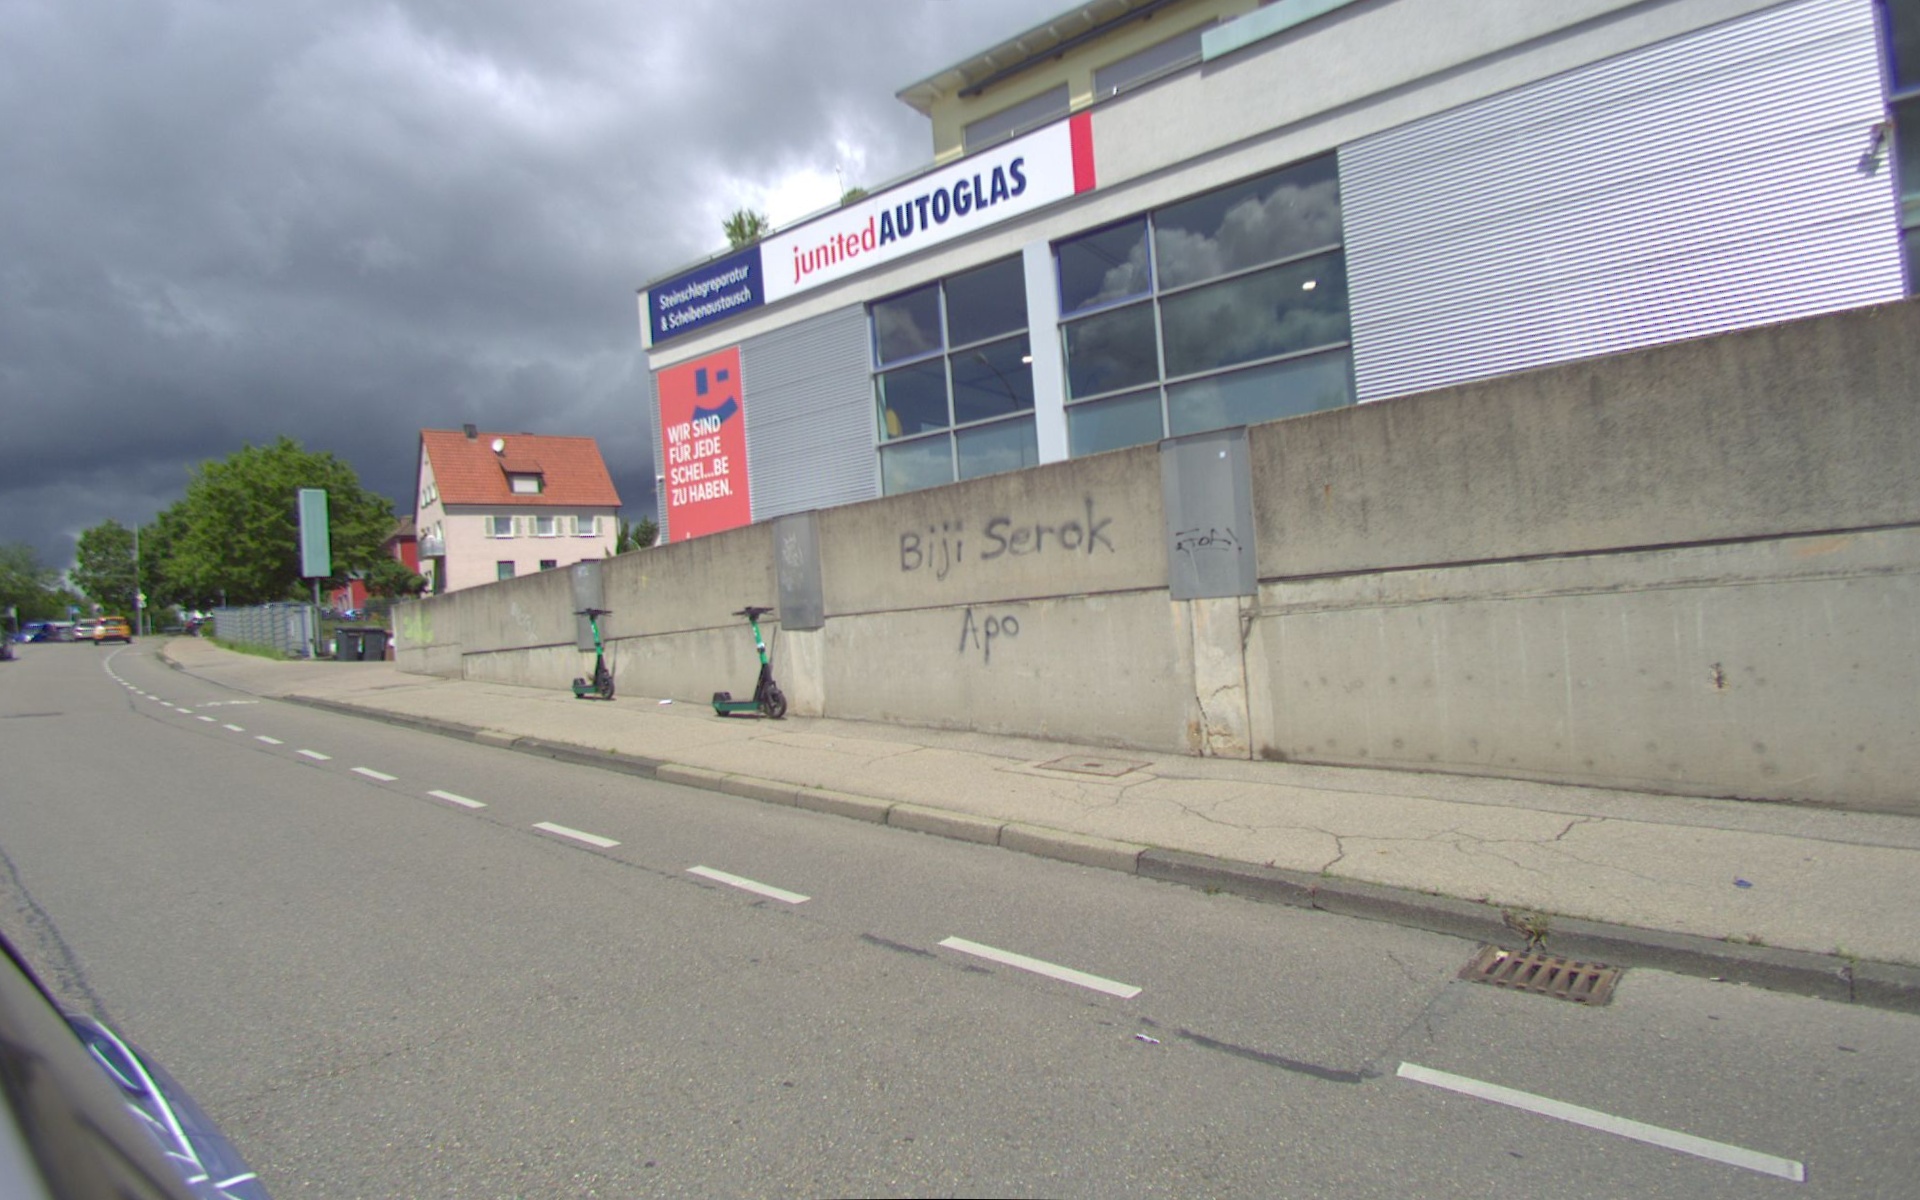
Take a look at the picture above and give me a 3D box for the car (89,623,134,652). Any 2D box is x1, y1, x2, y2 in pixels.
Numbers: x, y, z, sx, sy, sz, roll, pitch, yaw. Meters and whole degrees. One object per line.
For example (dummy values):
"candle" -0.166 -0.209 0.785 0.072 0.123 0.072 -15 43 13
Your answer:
"car" -47.725 2.084 56.979 1.580 1.501 3.691 -2 1 -35

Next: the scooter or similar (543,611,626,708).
"scooter or similar" -5.293 0.815 14.250 1.306 1.285 0.551 -1 1 44

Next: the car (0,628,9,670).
"car" -37.201 1.861 38.332 1.563 1.517 3.959 -2 1 -45

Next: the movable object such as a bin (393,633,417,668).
"movable object such as a bin" -16.970 1.538 30.954 0.508 1.053 0.517 3 -3 -44

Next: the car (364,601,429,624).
"car" -41.252 0.922 74.133 3.956 1.517 1.589 -2 0 -37

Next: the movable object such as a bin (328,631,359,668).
"movable object such as a bin" -18.135 1.455 29.789 0.654 1.089 0.517 3 -3 -44

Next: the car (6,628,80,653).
"car" -86.711 3.820 95.815 1.939 1.984 5.117 -2 1 9

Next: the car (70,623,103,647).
"car" -60.624 2.396 70.235 1.622 1.544 4.228 -2 0 -41

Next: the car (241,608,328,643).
"car" -38.691 1.449 58.041 3.898 1.789 1.525 -2 1 -44

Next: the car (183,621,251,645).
"car" -52.954 2.312 72.152 3.797 1.517 1.589 -2 0 -37

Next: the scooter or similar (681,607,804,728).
"scooter or similar" -2.514 0.757 11.671 1.380 1.285 0.515 -2 2 35

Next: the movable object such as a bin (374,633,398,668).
"movable object such as a bin" -17.387 1.525 30.662 0.496 1.068 0.498 3 -3 -44

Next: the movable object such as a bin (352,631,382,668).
"movable object such as a bin" -17.679 1.478 30.180 0.654 1.089 0.517 3 -3 -44
